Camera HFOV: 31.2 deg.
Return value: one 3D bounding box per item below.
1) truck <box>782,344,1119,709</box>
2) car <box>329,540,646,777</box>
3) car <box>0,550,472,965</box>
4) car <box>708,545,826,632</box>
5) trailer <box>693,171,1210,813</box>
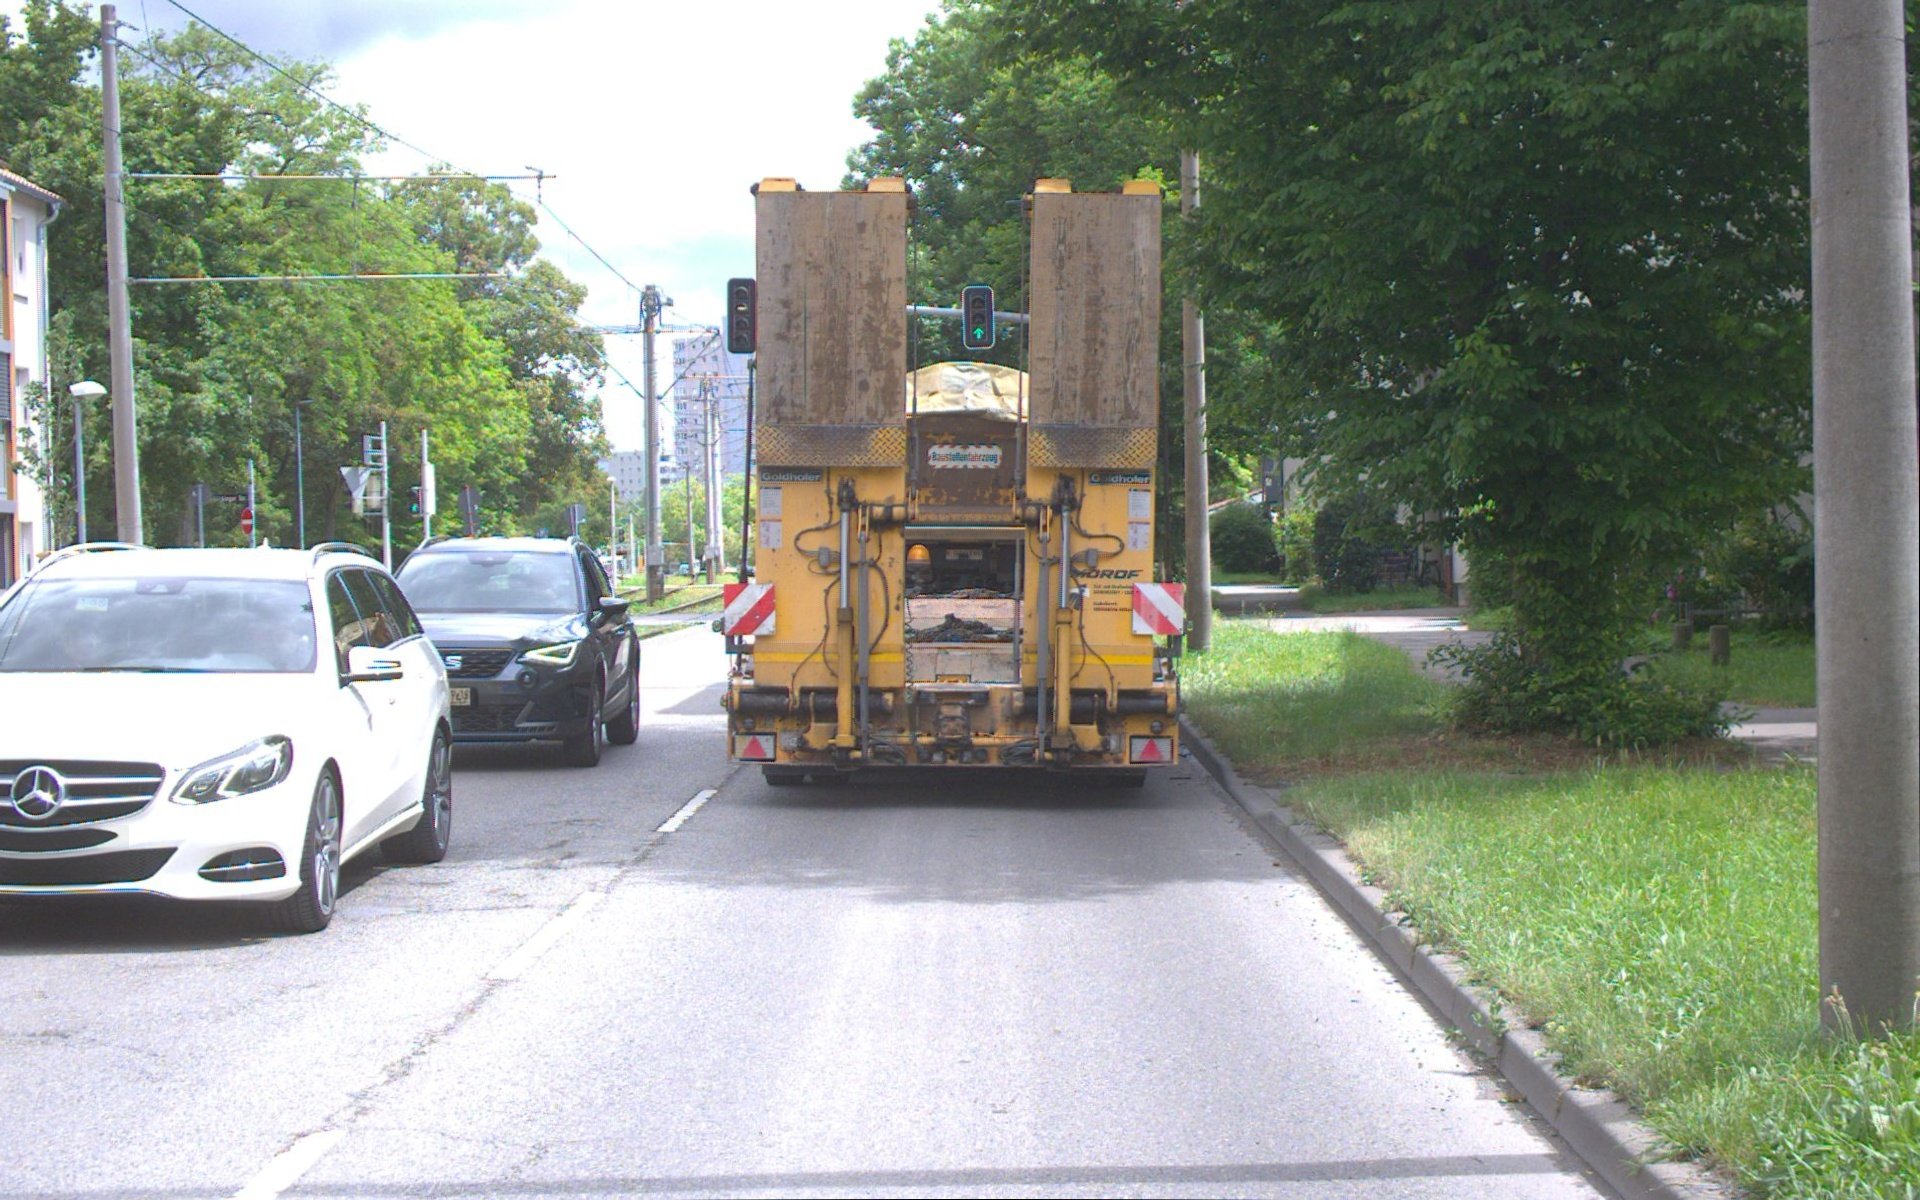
[{"bbox_3d":[-0.070,-0.711,33.731,2.917,3.156,7.680,0,1,0],"label":"truck"},{"bbox_3d":[-3.217,0.344,24.044,1.650,1.515,3.866,0,1,0],"label":"car"},{"bbox_3d":[-3.333,0.533,14.644,1.879,1.476,4.529,0,1,0],"label":"car"},{"bbox_3d":[-3.244,-0.226,58.308,1.730,1.412,3.984,0,1,1],"label":"car"},{"bbox_3d":[-0.078,-0.686,24.382,2.822,3.512,11.052,0,1,0],"label":"trailer"}]
